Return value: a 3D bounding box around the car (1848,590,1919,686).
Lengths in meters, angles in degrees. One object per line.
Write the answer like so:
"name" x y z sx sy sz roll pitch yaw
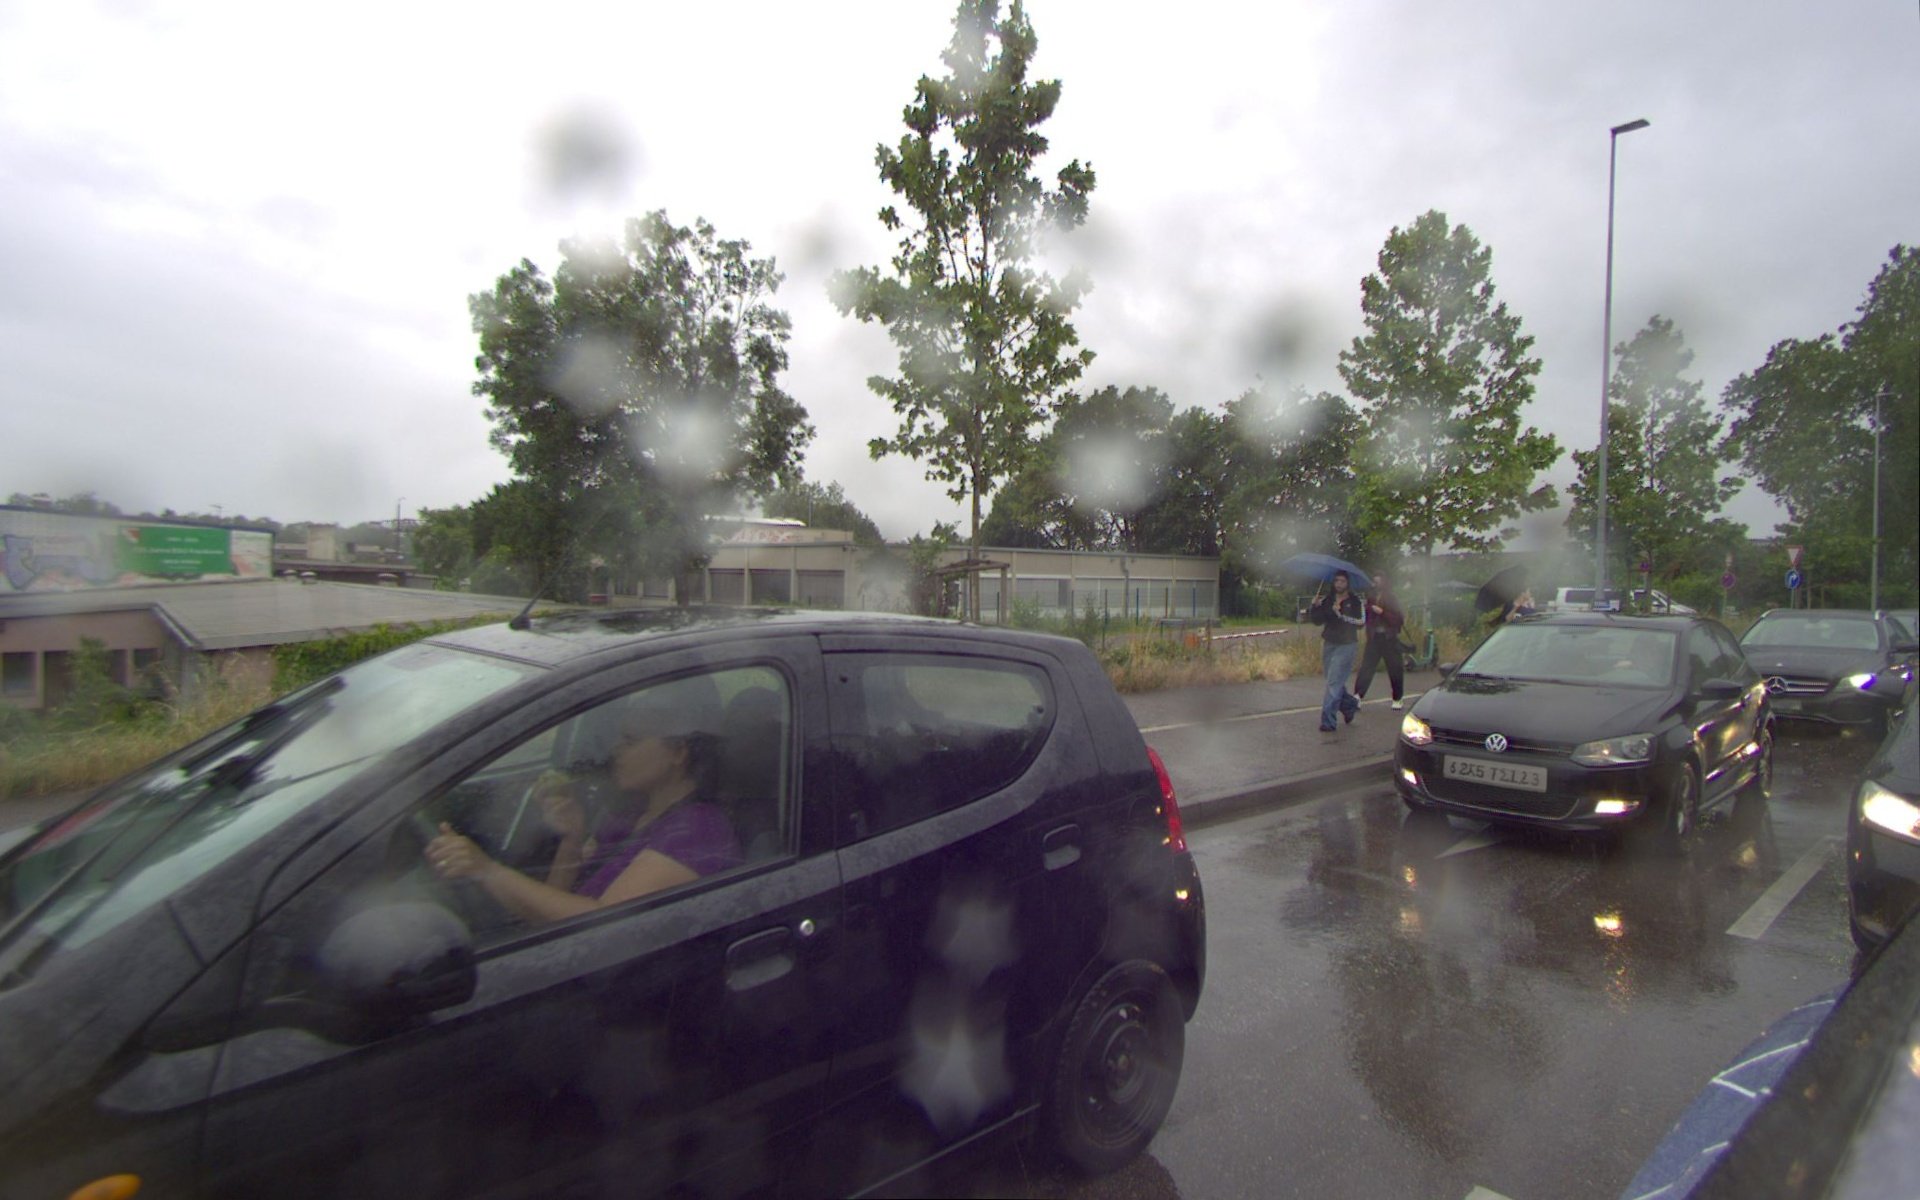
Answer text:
"car" 16.702 0.584 17.405 4.052 1.488 1.702 -1 1 -42

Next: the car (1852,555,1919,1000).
"car" 5.432 0.616 4.484 4.091 1.607 1.688 -1 1 -41

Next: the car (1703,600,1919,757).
"car" 10.745 0.829 12.542 3.747 1.594 1.697 -1 1 -41

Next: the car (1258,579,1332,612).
"car" 21.005 -0.291 63.481 1.964 2.039 3.996 -1 1 -38

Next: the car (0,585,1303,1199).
"car" -0.826 0.705 2.466 3.561 1.447 1.631 0 0 -42

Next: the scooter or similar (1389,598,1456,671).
"scooter or similar" 7.903 0.561 17.255 1.747 1.144 0.380 -1 2 -43

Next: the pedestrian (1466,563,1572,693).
"pedestrian" 7.911 0.362 14.331 0.876 1.729 1.024 -1 3 -41

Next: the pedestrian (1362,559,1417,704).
"pedestrian" 5.118 0.356 12.060 0.433 1.682 0.400 0 3 -42

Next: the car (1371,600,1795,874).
"car" 4.543 0.732 7.180 3.561 1.447 1.631 0 0 -42

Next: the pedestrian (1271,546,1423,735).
"pedestrian" 3.923 0.358 10.276 0.953 1.777 1.081 -1 3 -42

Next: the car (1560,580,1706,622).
"car" 28.104 0.016 42.381 1.966 1.670 4.752 -1 1 -42
